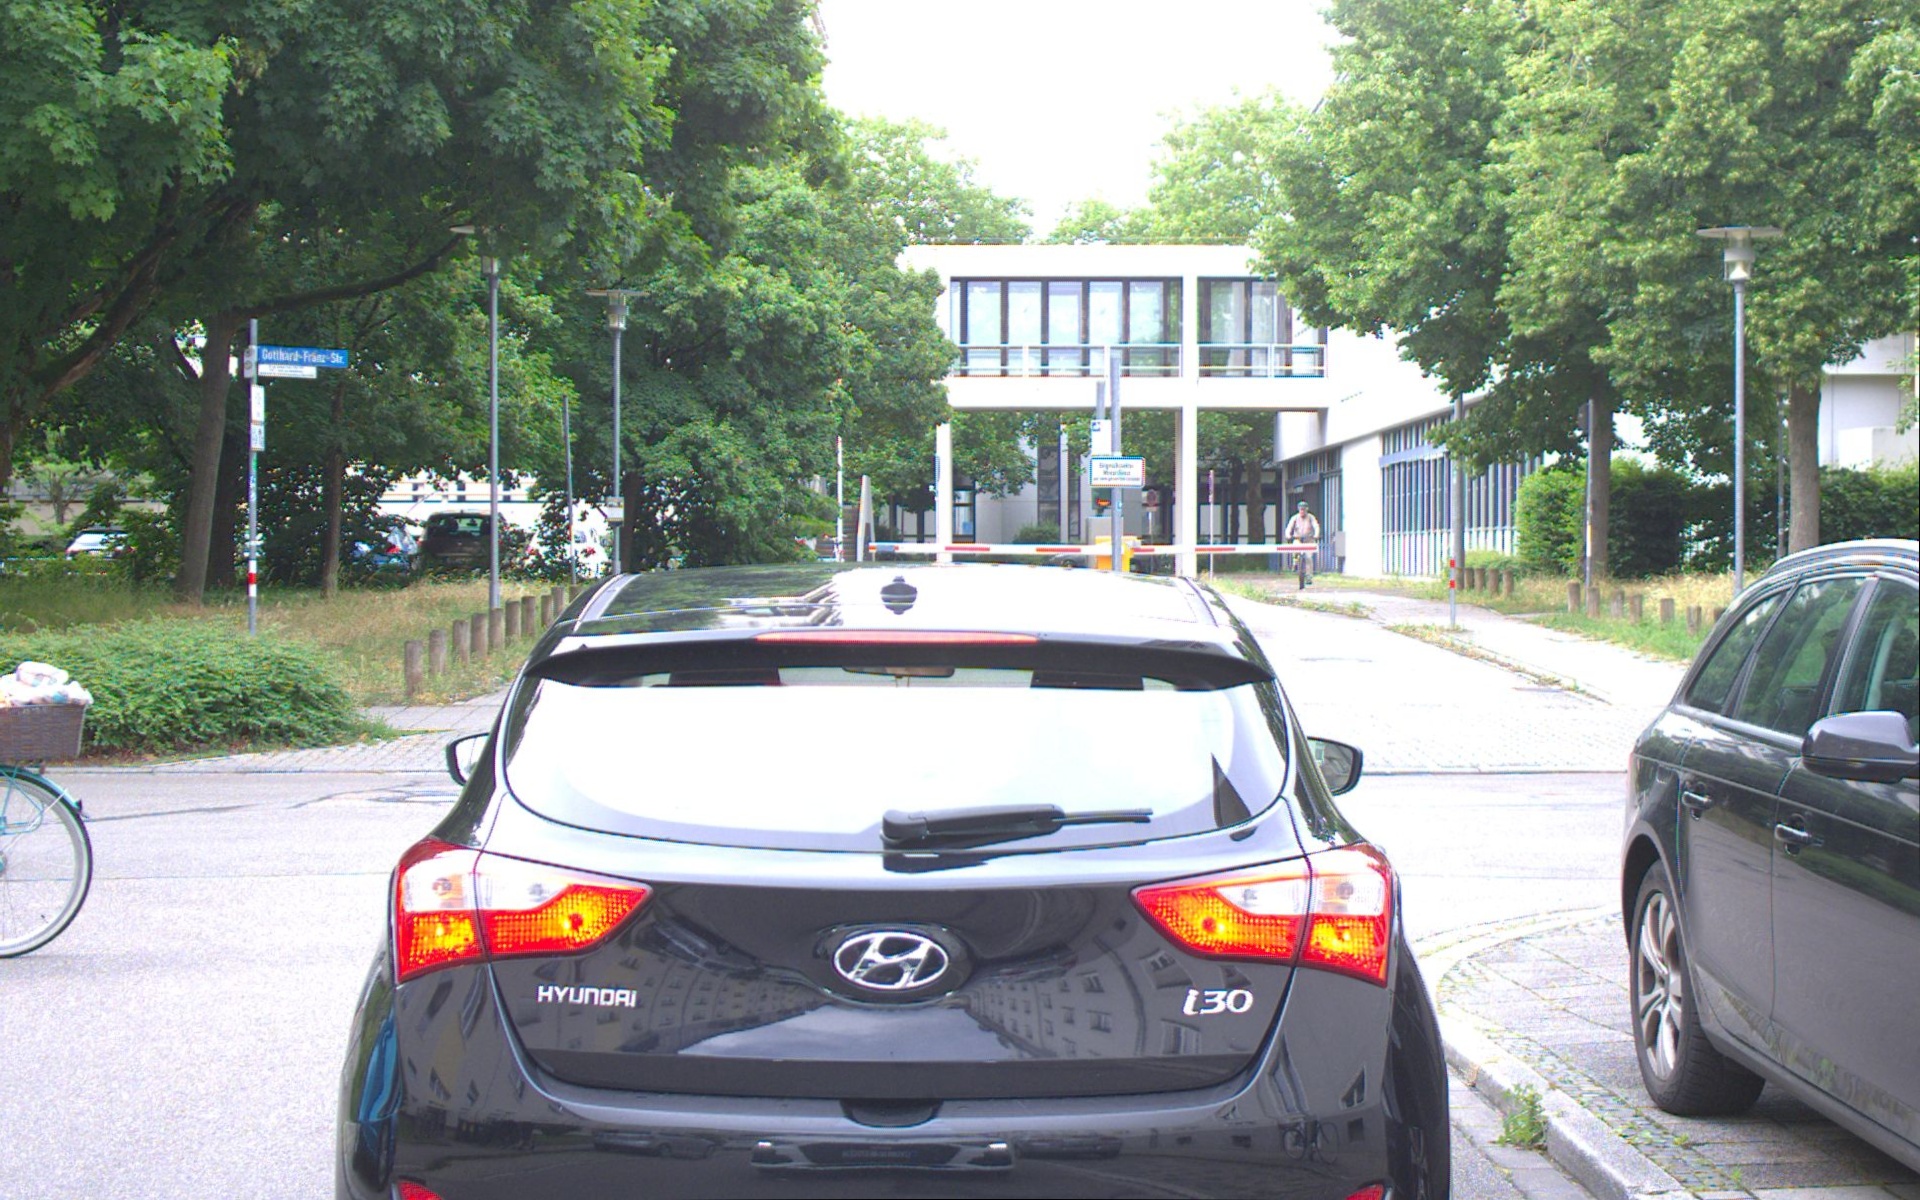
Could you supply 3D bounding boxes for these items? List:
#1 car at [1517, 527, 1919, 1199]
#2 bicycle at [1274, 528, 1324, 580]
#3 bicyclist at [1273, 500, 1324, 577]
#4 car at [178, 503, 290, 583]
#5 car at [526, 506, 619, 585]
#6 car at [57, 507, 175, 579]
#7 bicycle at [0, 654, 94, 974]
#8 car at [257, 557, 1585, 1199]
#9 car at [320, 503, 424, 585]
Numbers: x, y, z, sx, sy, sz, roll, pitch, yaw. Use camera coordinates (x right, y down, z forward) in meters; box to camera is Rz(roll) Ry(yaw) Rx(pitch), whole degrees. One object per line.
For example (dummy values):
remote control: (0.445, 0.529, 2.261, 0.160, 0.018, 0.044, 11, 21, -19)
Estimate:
car: (2.598, 0.577, 7.273, 1.860, 1.457, 4.726, -1, 1, -3)
bicycle: (7.258, -0.997, 73.683, 0.866, 1.071, 2.142, 0, 2, 1)
bicyclist: (7.259, -1.318, 73.752, 1.017, 1.639, 0.923, 0, 2, 1)
car: (-16.578, -1.289, 78.687, 1.993, 1.722, 4.000, 0, -1, -4)
car: (-8.878, -1.231, 79.079, 1.993, 1.756, 4.001, 0, 0, -4)
car: (-19.300, -1.310, 78.755, 1.993, 1.612, 4.001, 0, 1, -4)
bicycle: (-4.121, 0.800, 12.477, 1.812, 1.115, 0.538, -2, 2, -9)
car: (-0.142, 0.653, 6.704, 1.846, 1.457, 3.828, 0, 1, -3)
car: (-13.474, -1.268, 79.017, 1.993, 1.788, 4.000, 0, -1, -4)
